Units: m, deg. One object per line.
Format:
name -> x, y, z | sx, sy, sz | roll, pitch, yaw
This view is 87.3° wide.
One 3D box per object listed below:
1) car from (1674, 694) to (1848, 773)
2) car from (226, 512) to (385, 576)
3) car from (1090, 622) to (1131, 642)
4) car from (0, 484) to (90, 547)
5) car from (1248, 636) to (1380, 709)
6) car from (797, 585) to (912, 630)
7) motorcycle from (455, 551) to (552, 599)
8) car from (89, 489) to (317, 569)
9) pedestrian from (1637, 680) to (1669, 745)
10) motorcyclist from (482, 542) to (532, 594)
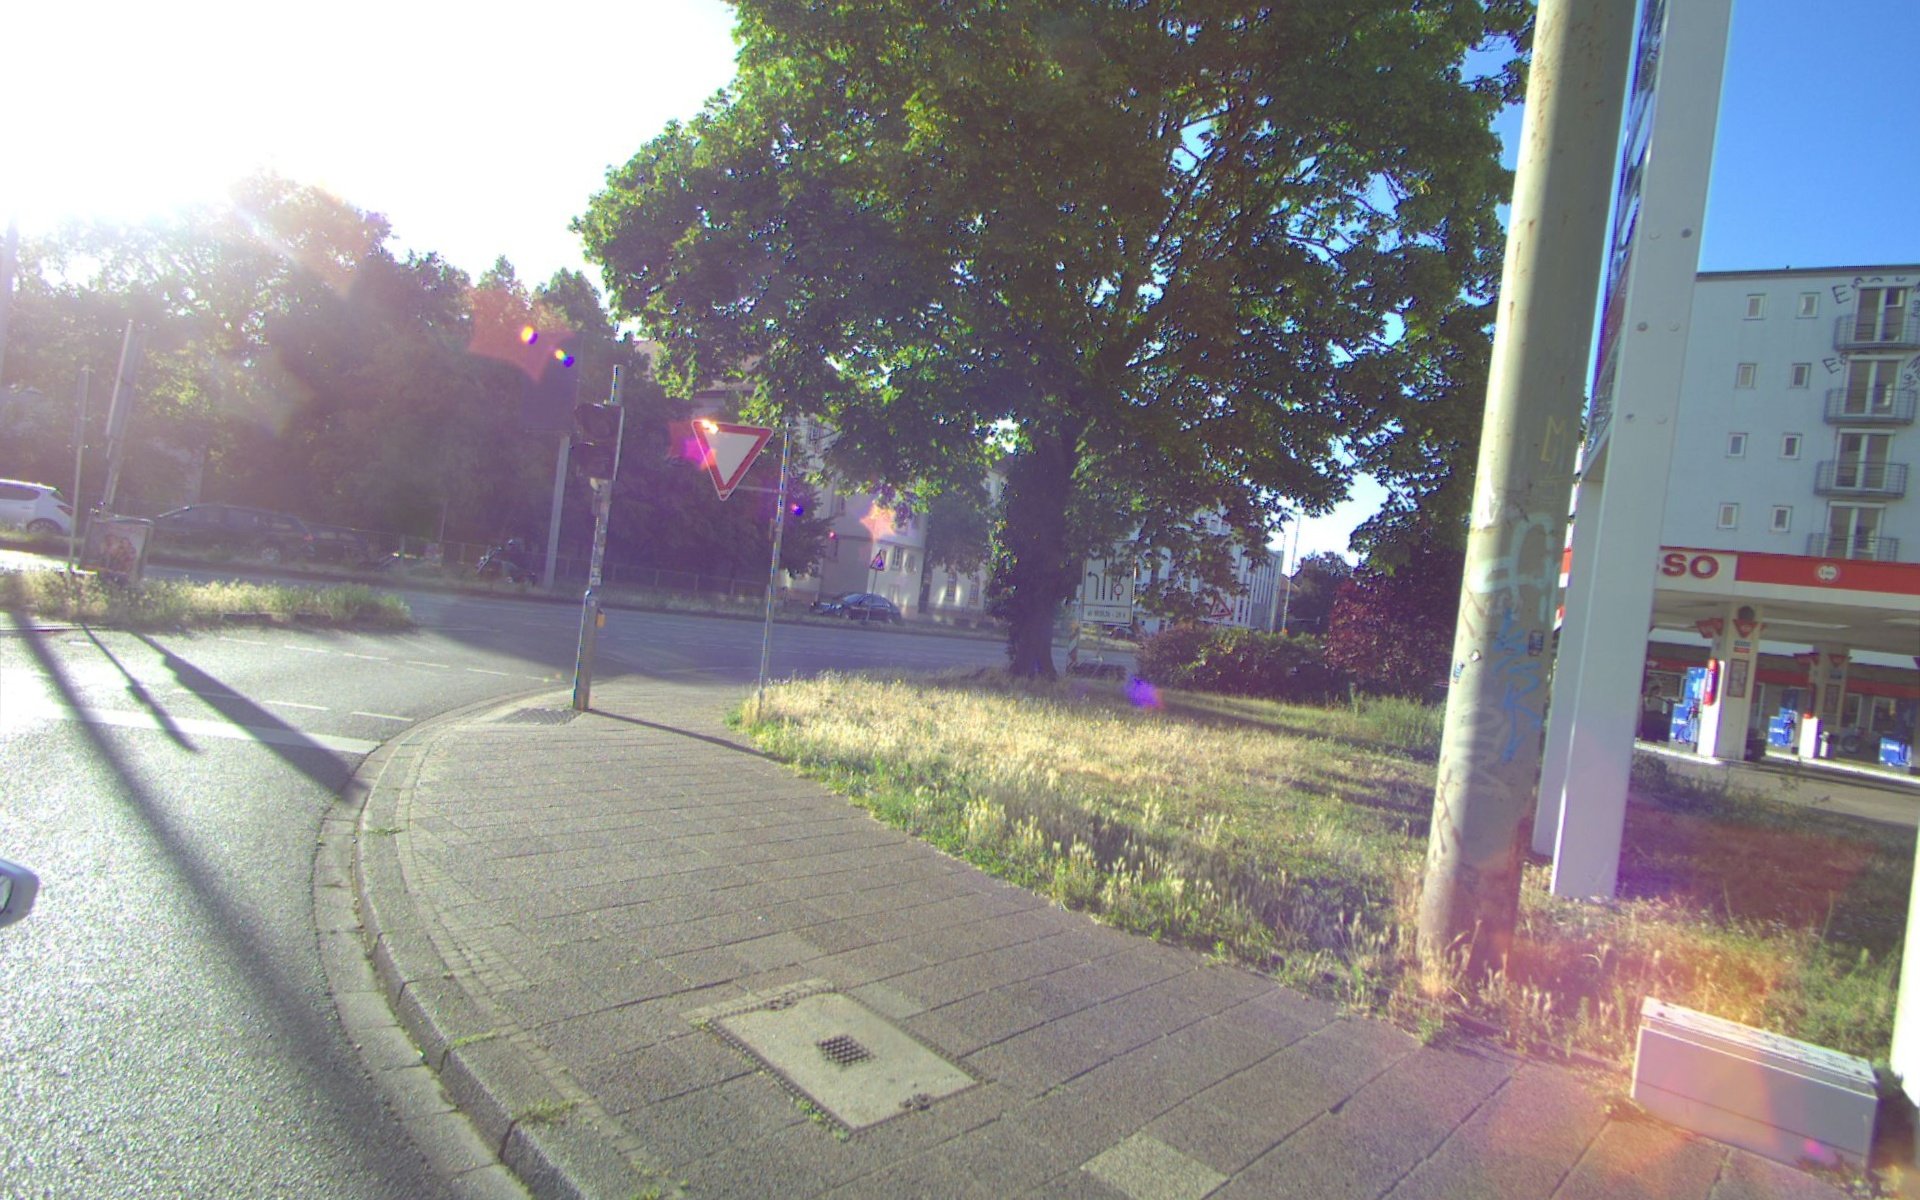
car -> 21.455, 3.519, 27.188 | 1.962, 1.372, 3.999 | 7, 1, 12
car -> -21.644, -1.829, 33.388 | 1.833, 1.482, 3.982 | 8, 0, 41
car -> 18.204, 3.926, 121.734 | 4.313, 1.855, 1.999 | 7, 0, 22
car -> -24.335, -2.272, 25.042 | 3.871, 1.335, 1.702 | 7, 0, -45
car -> 9.529, 1.967, 26.933 | 1.681, 1.593, 3.977 | 7, 0, 45
car -> -4.846, 0.386, 46.857 | 1.972, 1.514, 5.267 | 7, 0, 41
motorcycle -> -13.849, -0.753, 30.560 | 2.454, 1.121, 0.851 | 7, 0, -43
car -> -18.761, -1.730, 25.065 | 4.348, 1.312, 1.703 | 7, 0, -43
pedestrian -> 19.169, 3.108, 27.842 | 0.413, 1.726, 0.420 | 7, 1, 13
motorcyclist -> -13.768, -0.974, 30.584 | 1.054, 1.415, 0.844 | 6, 1, -43
